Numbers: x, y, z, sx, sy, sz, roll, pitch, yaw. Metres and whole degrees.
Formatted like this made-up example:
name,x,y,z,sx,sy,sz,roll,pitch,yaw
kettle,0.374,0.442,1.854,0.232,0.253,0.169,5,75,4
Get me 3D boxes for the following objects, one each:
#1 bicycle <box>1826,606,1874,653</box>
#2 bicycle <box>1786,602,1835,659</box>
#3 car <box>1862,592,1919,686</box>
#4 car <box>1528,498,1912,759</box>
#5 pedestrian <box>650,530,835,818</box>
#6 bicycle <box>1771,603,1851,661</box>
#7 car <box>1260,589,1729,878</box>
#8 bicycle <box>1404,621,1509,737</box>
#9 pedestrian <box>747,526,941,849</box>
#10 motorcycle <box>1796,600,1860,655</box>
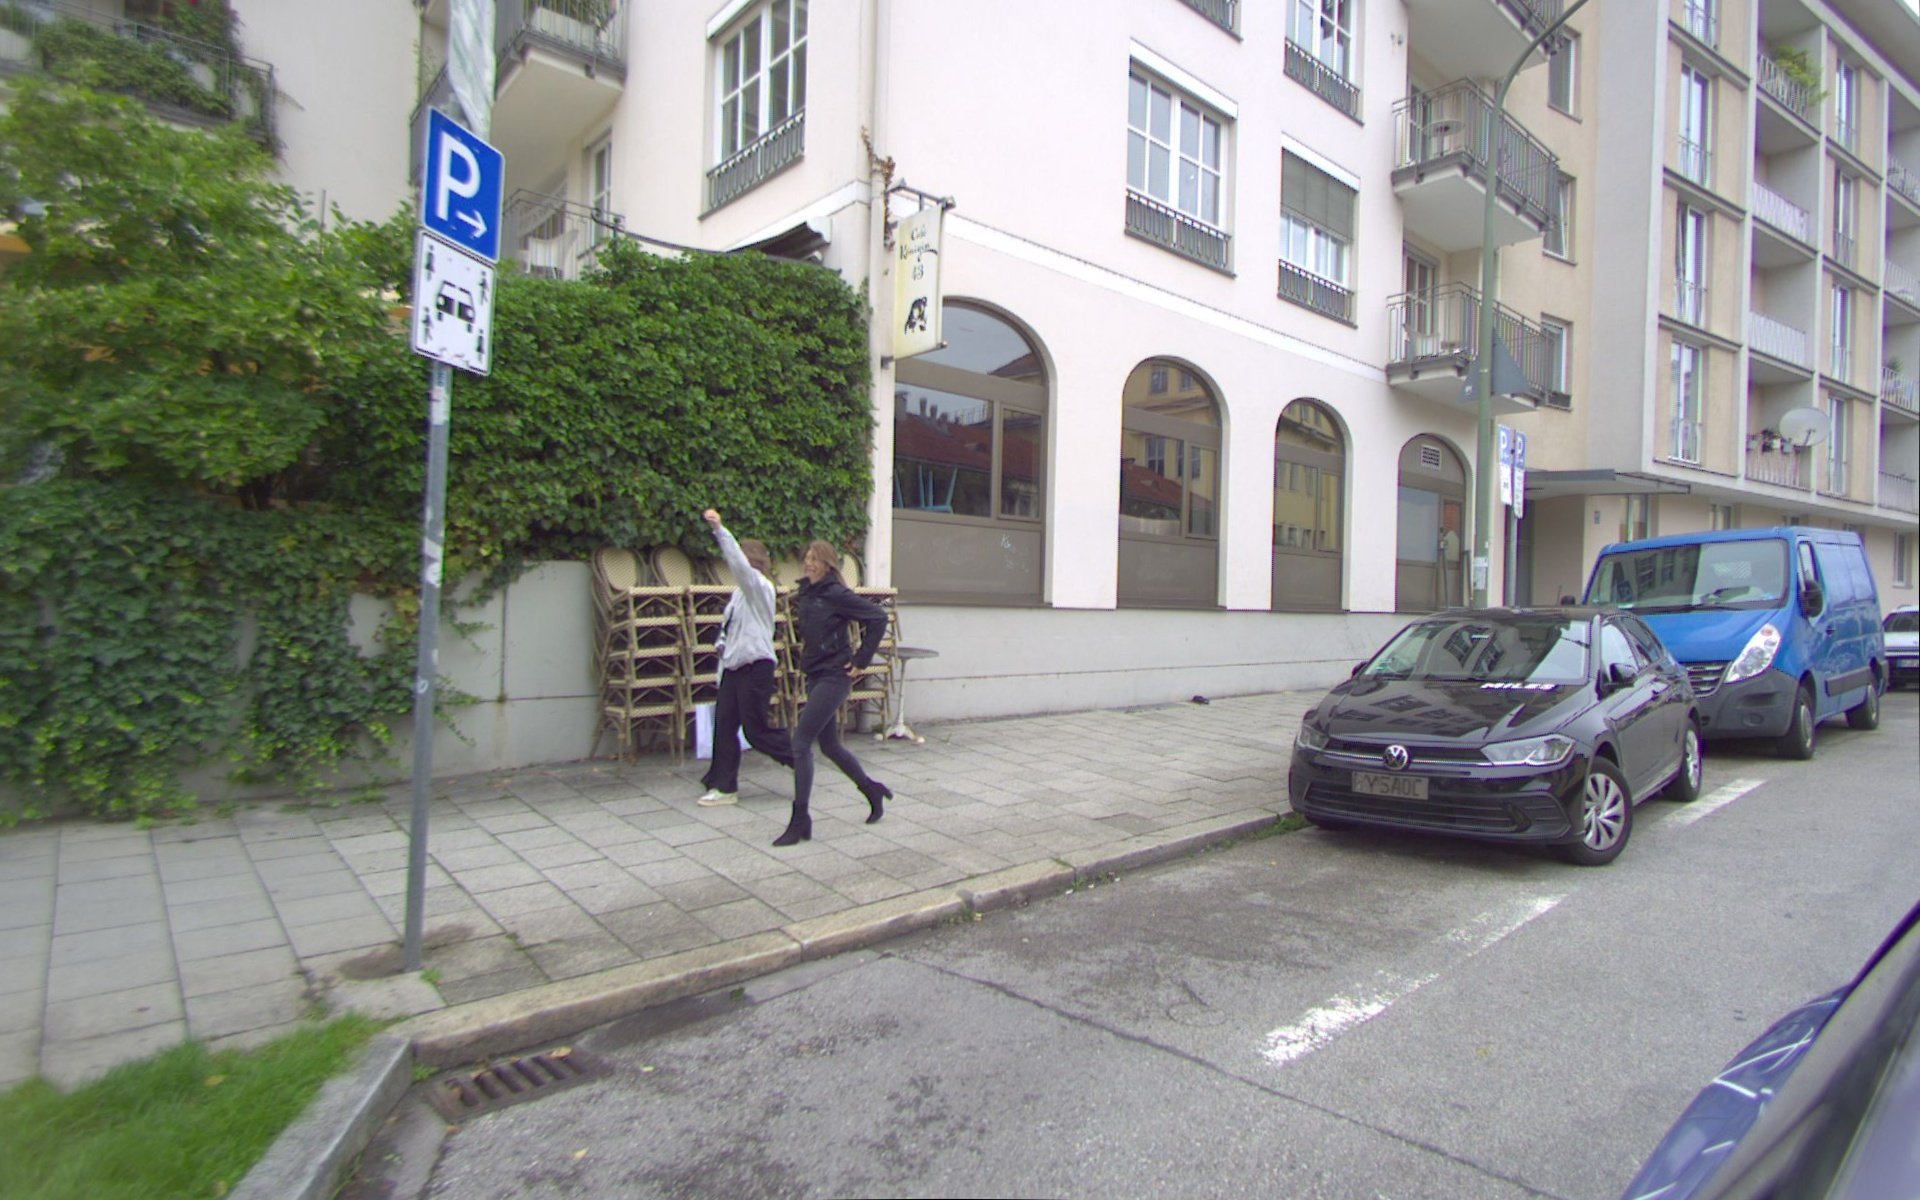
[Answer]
name,x,y,z,sx,sy,sz,roll,pitch,yaw
bicycle,23.155,0.767,26.322,1.570,1.171,0.515,1,2,-34
bicycle,19.384,0.681,23.050,1.344,1.216,0.448,0,4,-36
car,17.626,0.682,17.887,4.225,1.543,1.779,2,-4,-39
car,8.465,0.246,11.100,4.939,2.242,2.113,-1,-3,-39
pedestrian,-1.357,0.400,6.292,0.815,1.626,0.808,0,2,-41
bicycle,19.986,0.731,23.785,1.339,1.216,0.388,6,5,44
car,3.848,0.692,6.968,3.934,1.413,1.715,1,-3,-45
bicycle,5.247,0.780,10.651,0.564,1.083,1.761,2,0,40
pedestrian,-0.652,0.431,5.681,0.816,1.648,0.679,0,2,-43
motorcycle,21.478,0.674,25.027,2.001,1.286,0.638,1,2,-34
